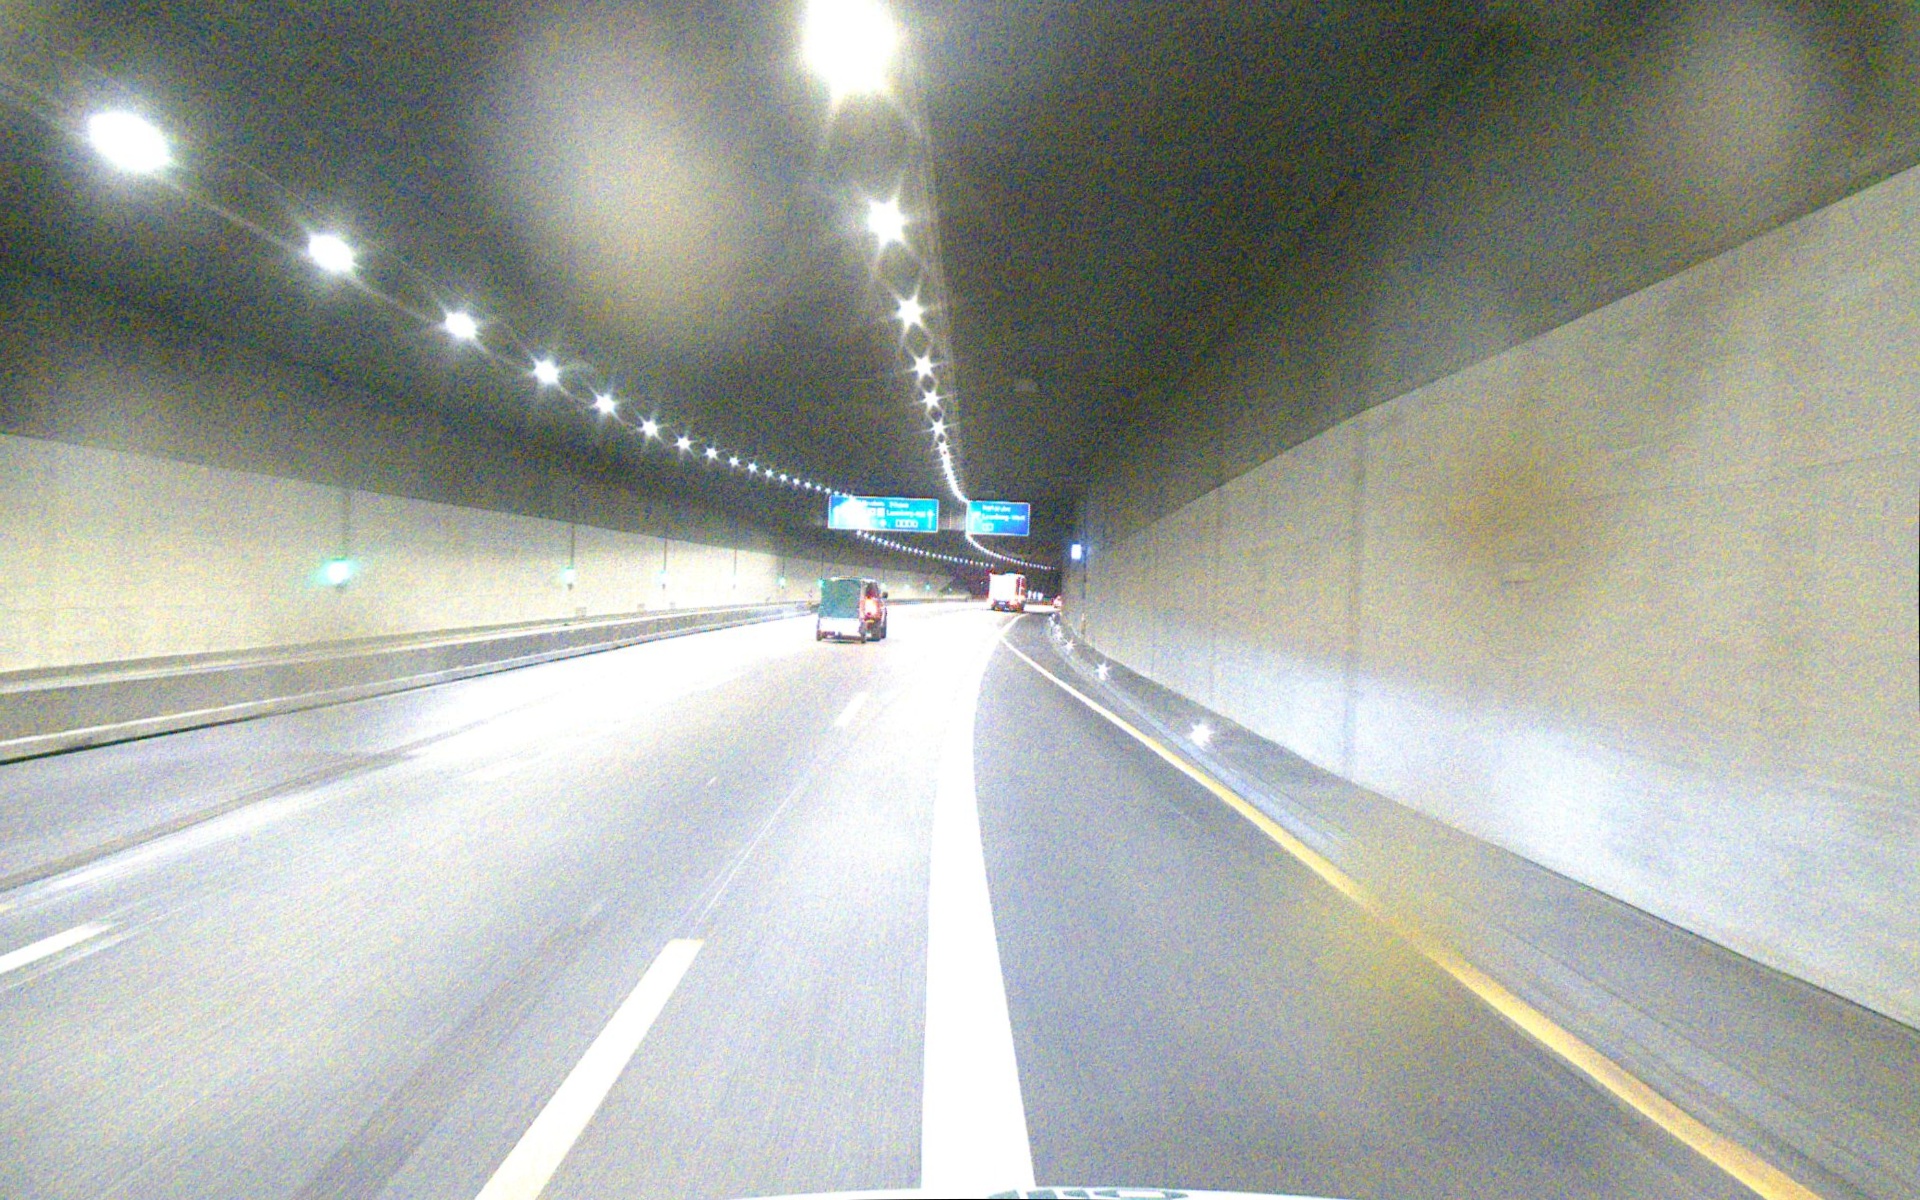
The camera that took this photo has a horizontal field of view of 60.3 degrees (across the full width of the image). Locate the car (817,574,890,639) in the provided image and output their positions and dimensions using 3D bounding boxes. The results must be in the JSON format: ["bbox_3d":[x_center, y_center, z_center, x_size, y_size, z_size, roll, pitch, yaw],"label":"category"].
[{"bbox_3d":[-3.362,0.258,53.063,1.953,1.928,5.452,0,-2,0],"label":"car"}]

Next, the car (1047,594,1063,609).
[{"bbox_3d":[12.877,0.173,224.214,1.951,1.928,5.535,0,1,4],"label":"car"}]

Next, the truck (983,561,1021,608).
[{"bbox_3d":[4.222,-1.549,163.843,3.402,4.391,10.956,2,1,2],"label":"truck"}]
